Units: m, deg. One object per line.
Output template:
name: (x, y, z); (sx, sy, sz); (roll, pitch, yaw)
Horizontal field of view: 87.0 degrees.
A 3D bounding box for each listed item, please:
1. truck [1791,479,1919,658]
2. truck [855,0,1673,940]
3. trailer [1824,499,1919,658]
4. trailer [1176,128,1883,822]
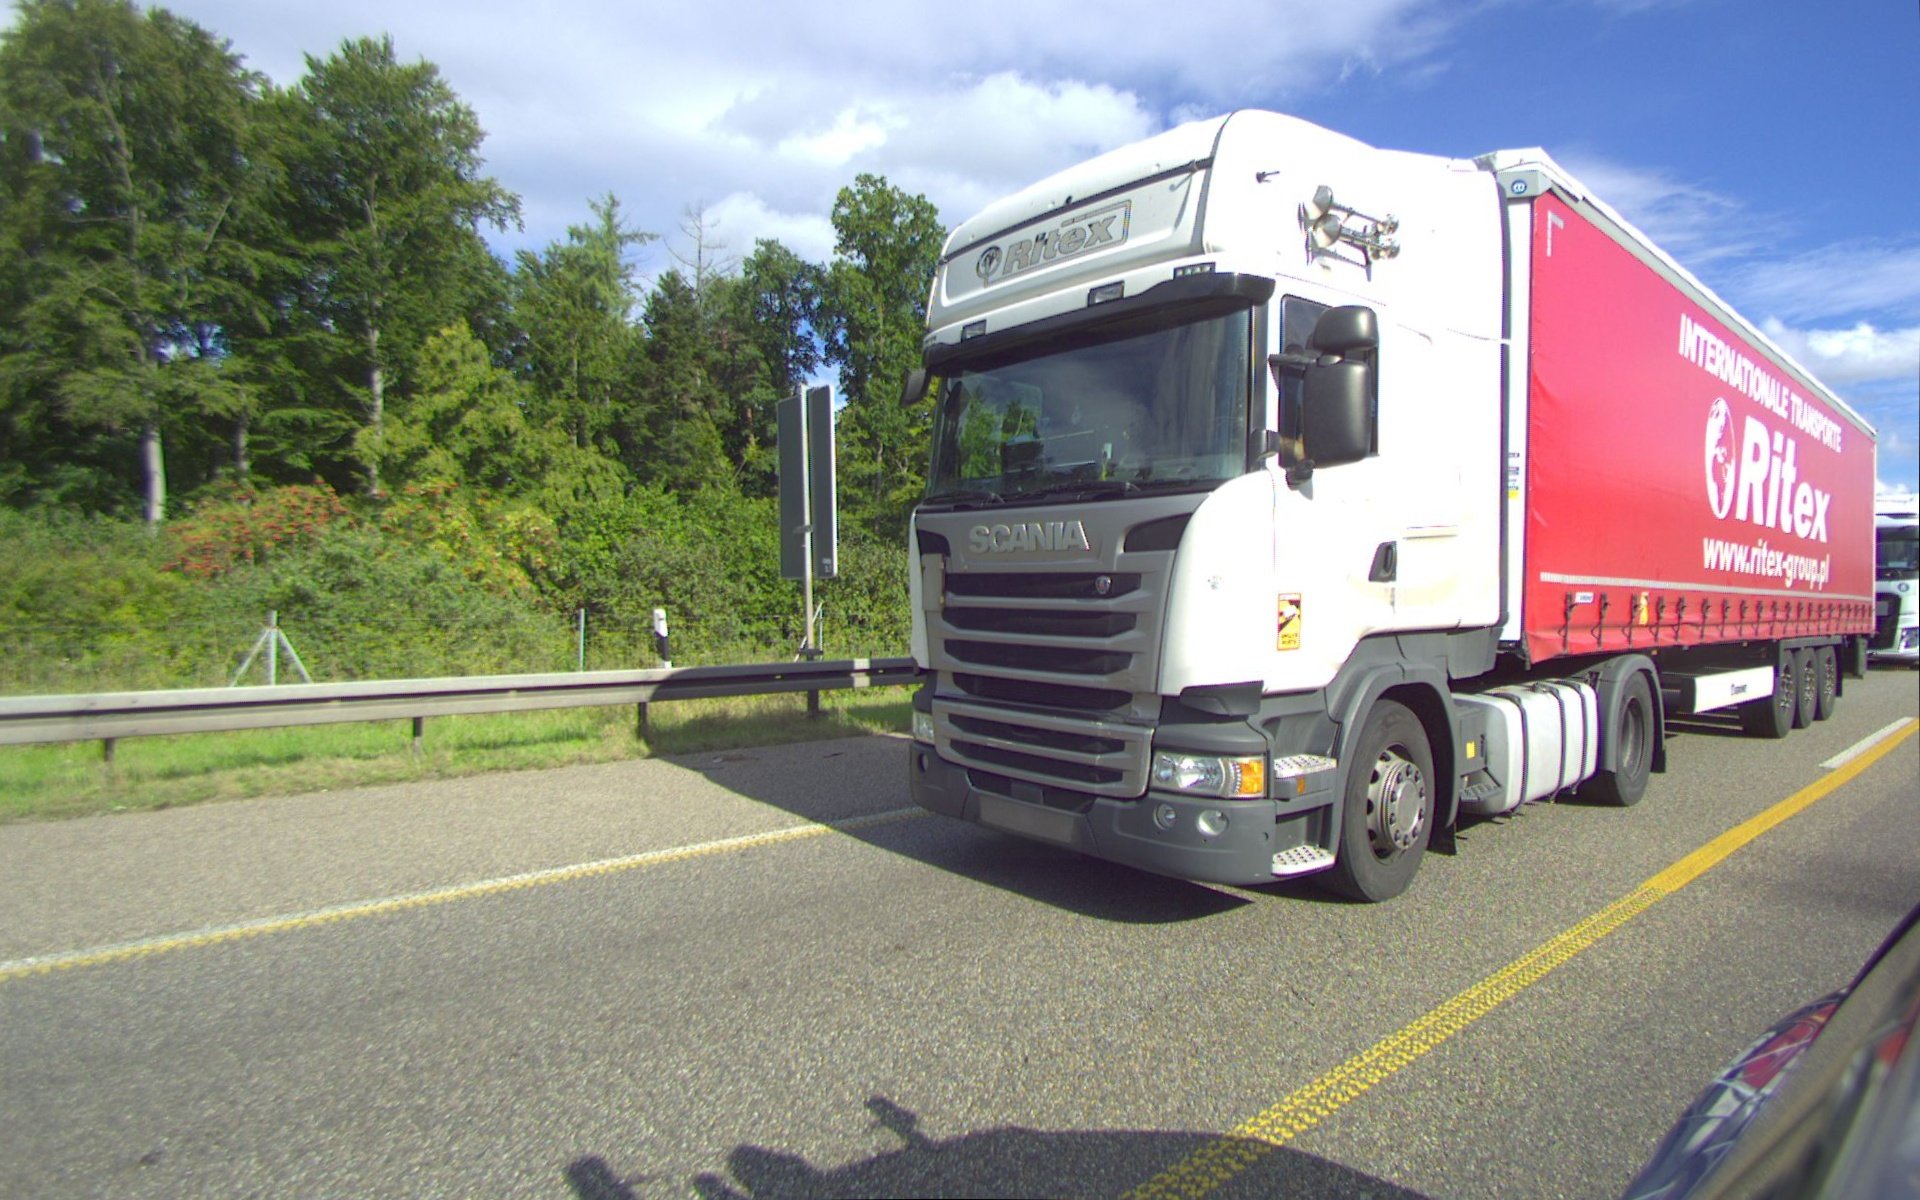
truck: (22.123, -0.705, 24.167); (5.686, 3.828, 2.500); (0, 0, -40)
truck: (2.370, -0.730, 6.715); (5.612, 4.010, 2.672); (0, 0, -42)
trailer: (27.225, -0.525, 28.447); (11.919, 3.822, 2.476); (0, 0, -40)
trailer: (7.502, -0.739, 11.256); (13.184, 4.019, 2.704); (0, 0, -42)
